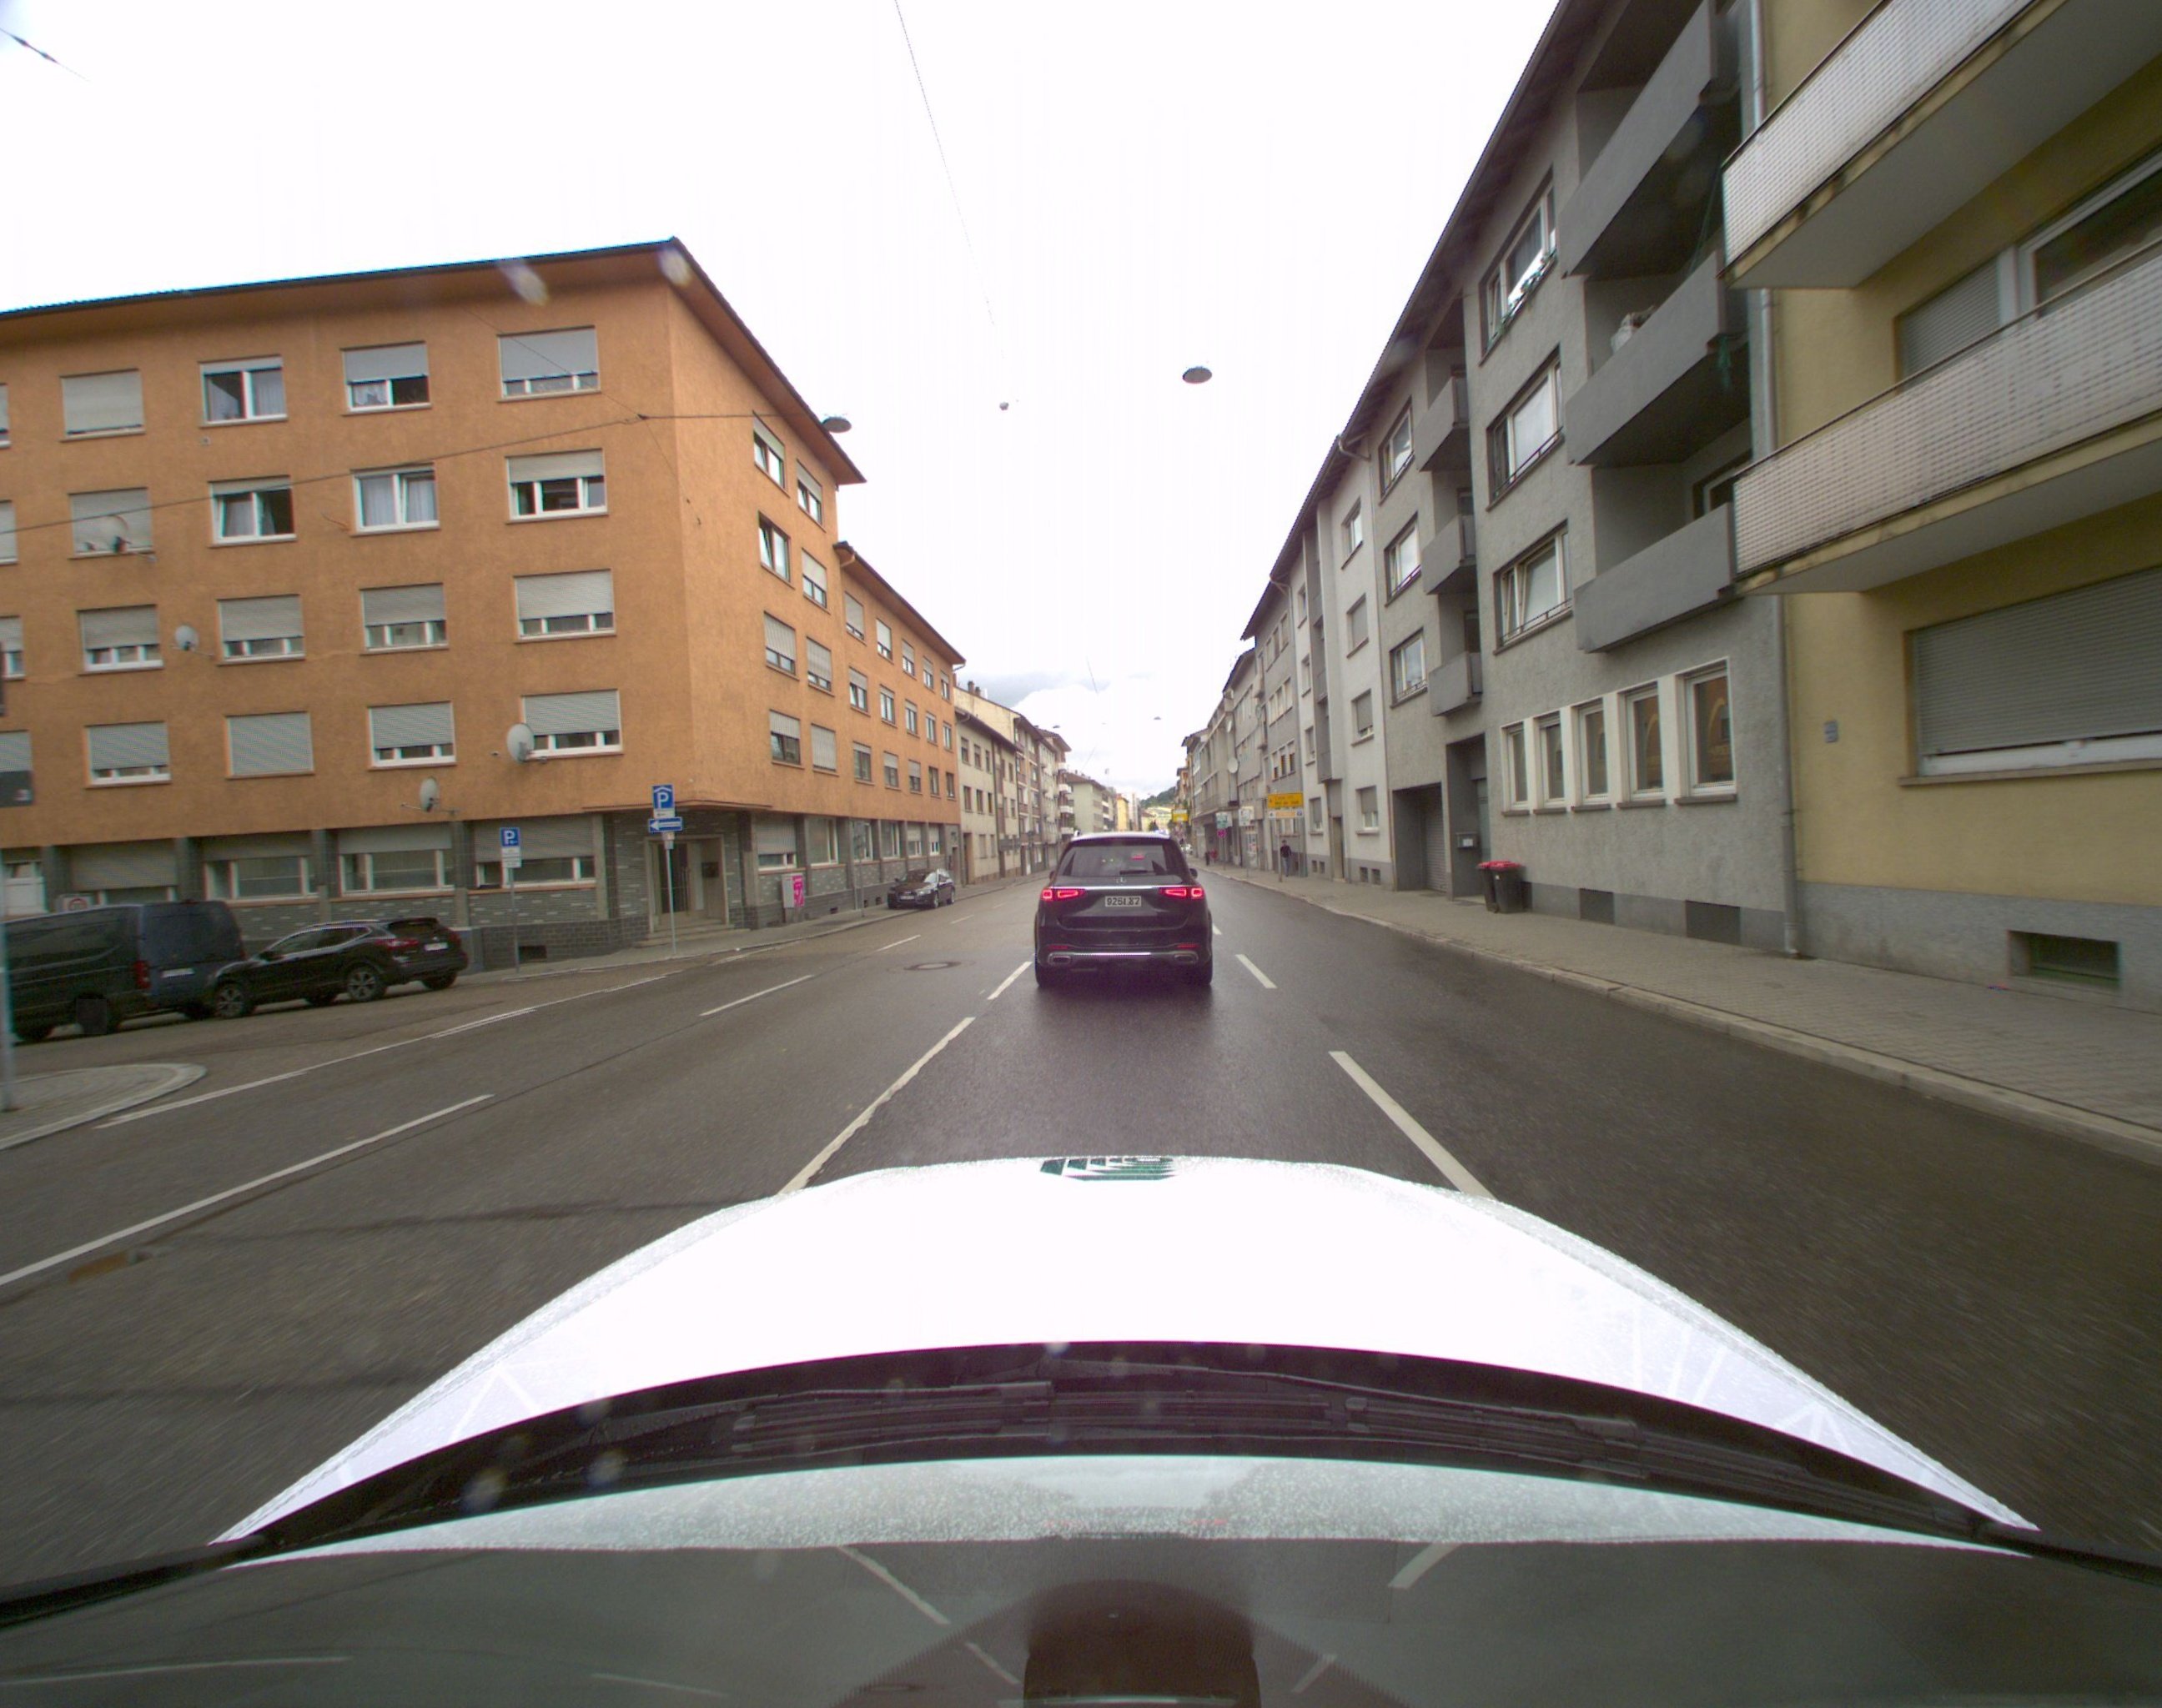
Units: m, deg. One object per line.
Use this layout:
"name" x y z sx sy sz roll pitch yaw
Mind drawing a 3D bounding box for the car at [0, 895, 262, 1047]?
"car" -20.525 2.429 16.562 5.327 2.458 1.982 -7 0 -2

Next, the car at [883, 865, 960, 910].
"car" -6.113 1.225 31.716 1.883 1.458 4.552 -2 1 2

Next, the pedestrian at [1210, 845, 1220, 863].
"pedestrian" 11.909 0.037 72.311 0.816 1.565 0.901 -2 0 7

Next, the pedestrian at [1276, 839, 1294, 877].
"pedestrian" 9.724 0.190 38.857 0.651 1.752 0.743 -5 0 9

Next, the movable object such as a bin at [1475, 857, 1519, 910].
"movable object such as a bin" 8.122 0.566 15.910 0.559 0.962 0.475 -6 0 6

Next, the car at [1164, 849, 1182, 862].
"car" 10.206 0.175 90.960 1.727 1.388 4.587 -2 1 3

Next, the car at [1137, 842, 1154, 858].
"car" 8.521 -0.554 106.868 1.983 2.013 4.008 -2 1 6

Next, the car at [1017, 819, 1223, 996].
"car" 0.520 0.522 10.689 2.067 1.765 4.615 -2 1 3

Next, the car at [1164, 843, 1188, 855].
"car" 16.565 -0.872 141.921 3.966 2.013 2.004 -2 0 6

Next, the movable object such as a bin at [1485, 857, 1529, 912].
"movable object such as a bin" 8.027 0.571 15.369 0.470 0.962 0.565 -6 0 6

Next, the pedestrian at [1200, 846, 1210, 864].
"pedestrian" 11.054 0.116 72.435 0.816 1.565 0.901 -2 0 7

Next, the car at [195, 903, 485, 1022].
"car" -14.682 2.117 16.301 3.970 1.652 1.932 -7 0 4

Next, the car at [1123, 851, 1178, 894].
"car" 2.635 0.674 31.749 1.886 1.510 4.175 -1 1 2
